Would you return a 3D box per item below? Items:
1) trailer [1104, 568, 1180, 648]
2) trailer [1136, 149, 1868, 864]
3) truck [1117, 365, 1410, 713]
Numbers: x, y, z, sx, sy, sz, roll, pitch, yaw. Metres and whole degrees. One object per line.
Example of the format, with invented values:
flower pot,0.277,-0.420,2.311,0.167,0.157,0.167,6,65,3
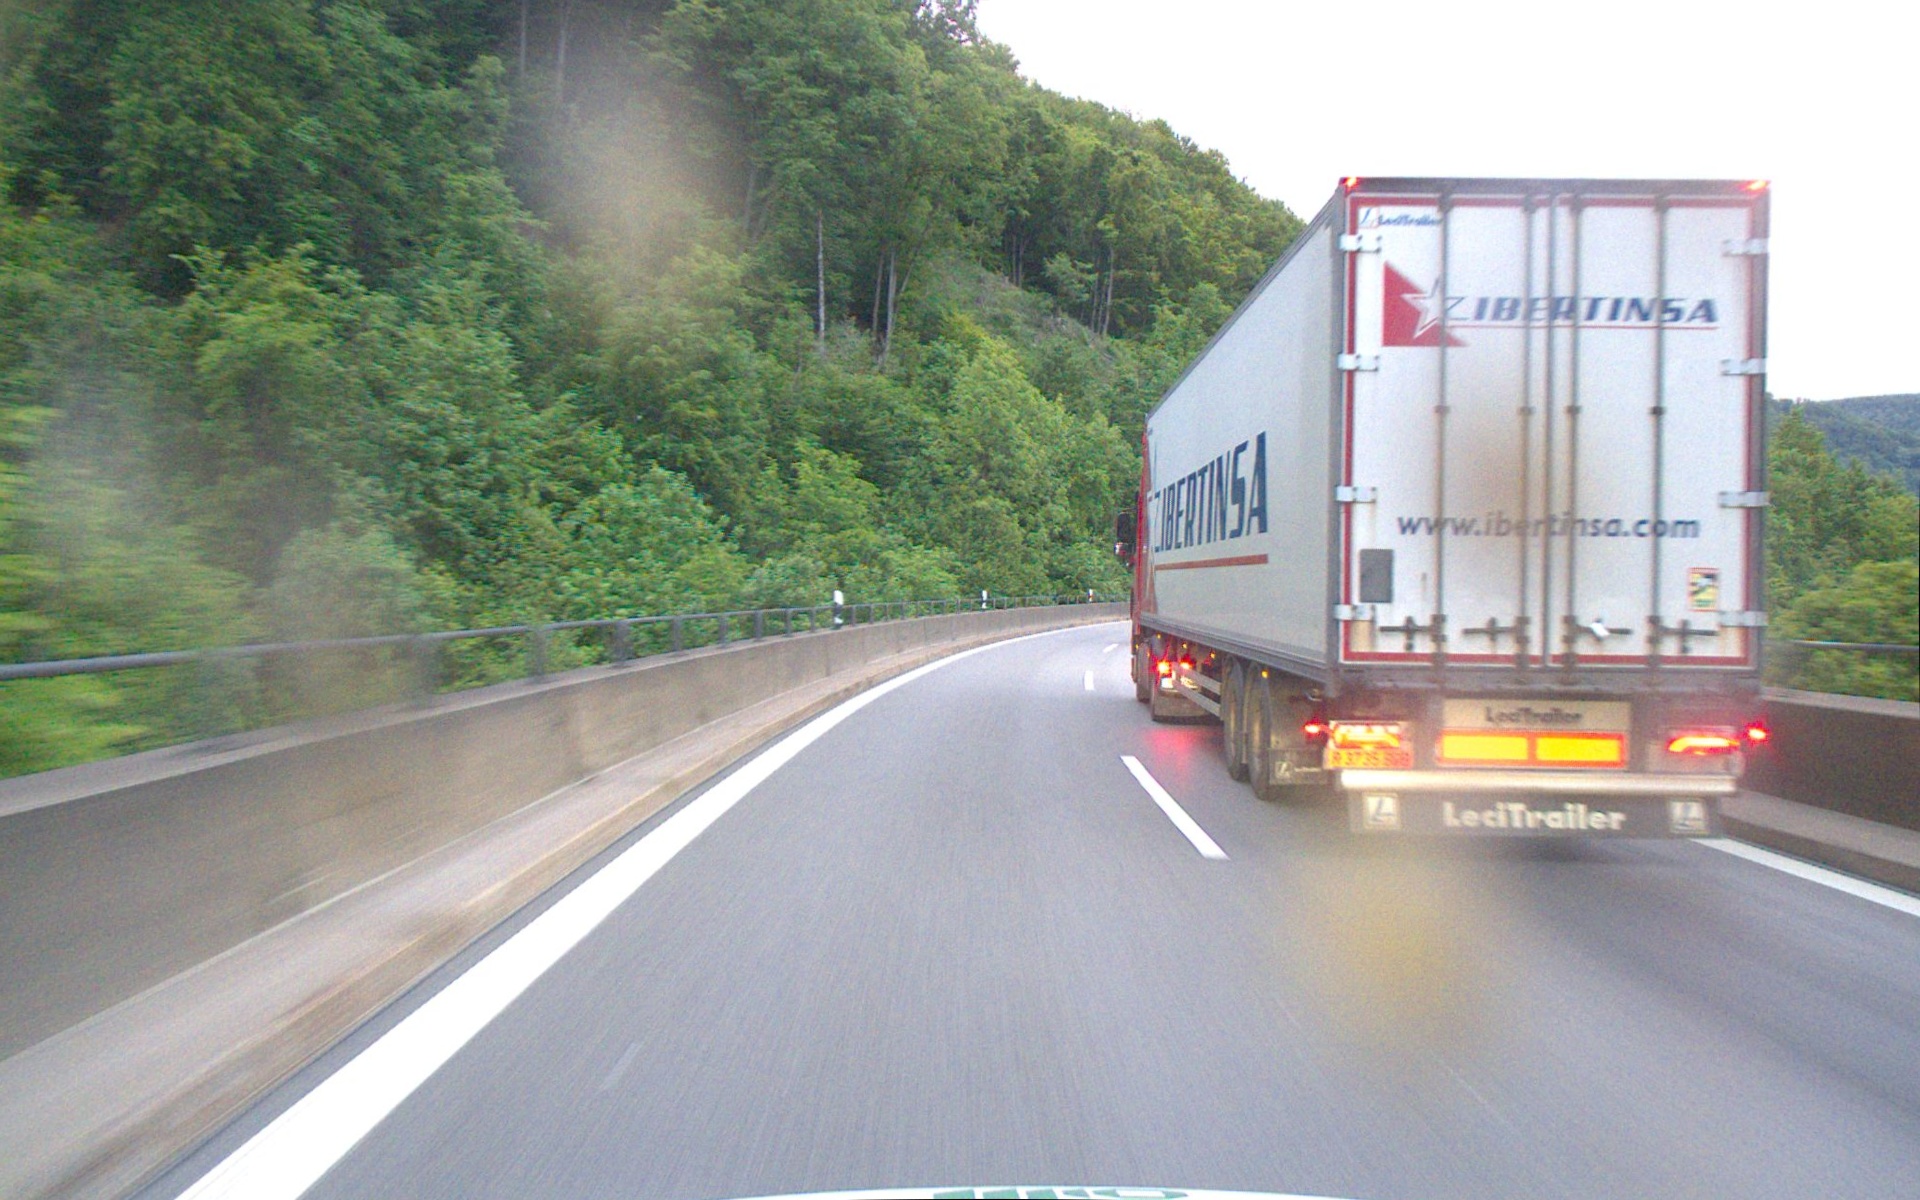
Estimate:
trailer,6.054,0.185,54.500,2.011,2.416,5.944,2,1,10
trailer,3.826,-0.596,16.499,3.033,4.039,14.221,0,1,2
truck,4.010,-0.732,23.403,3.006,4.217,6.447,0,0,0
